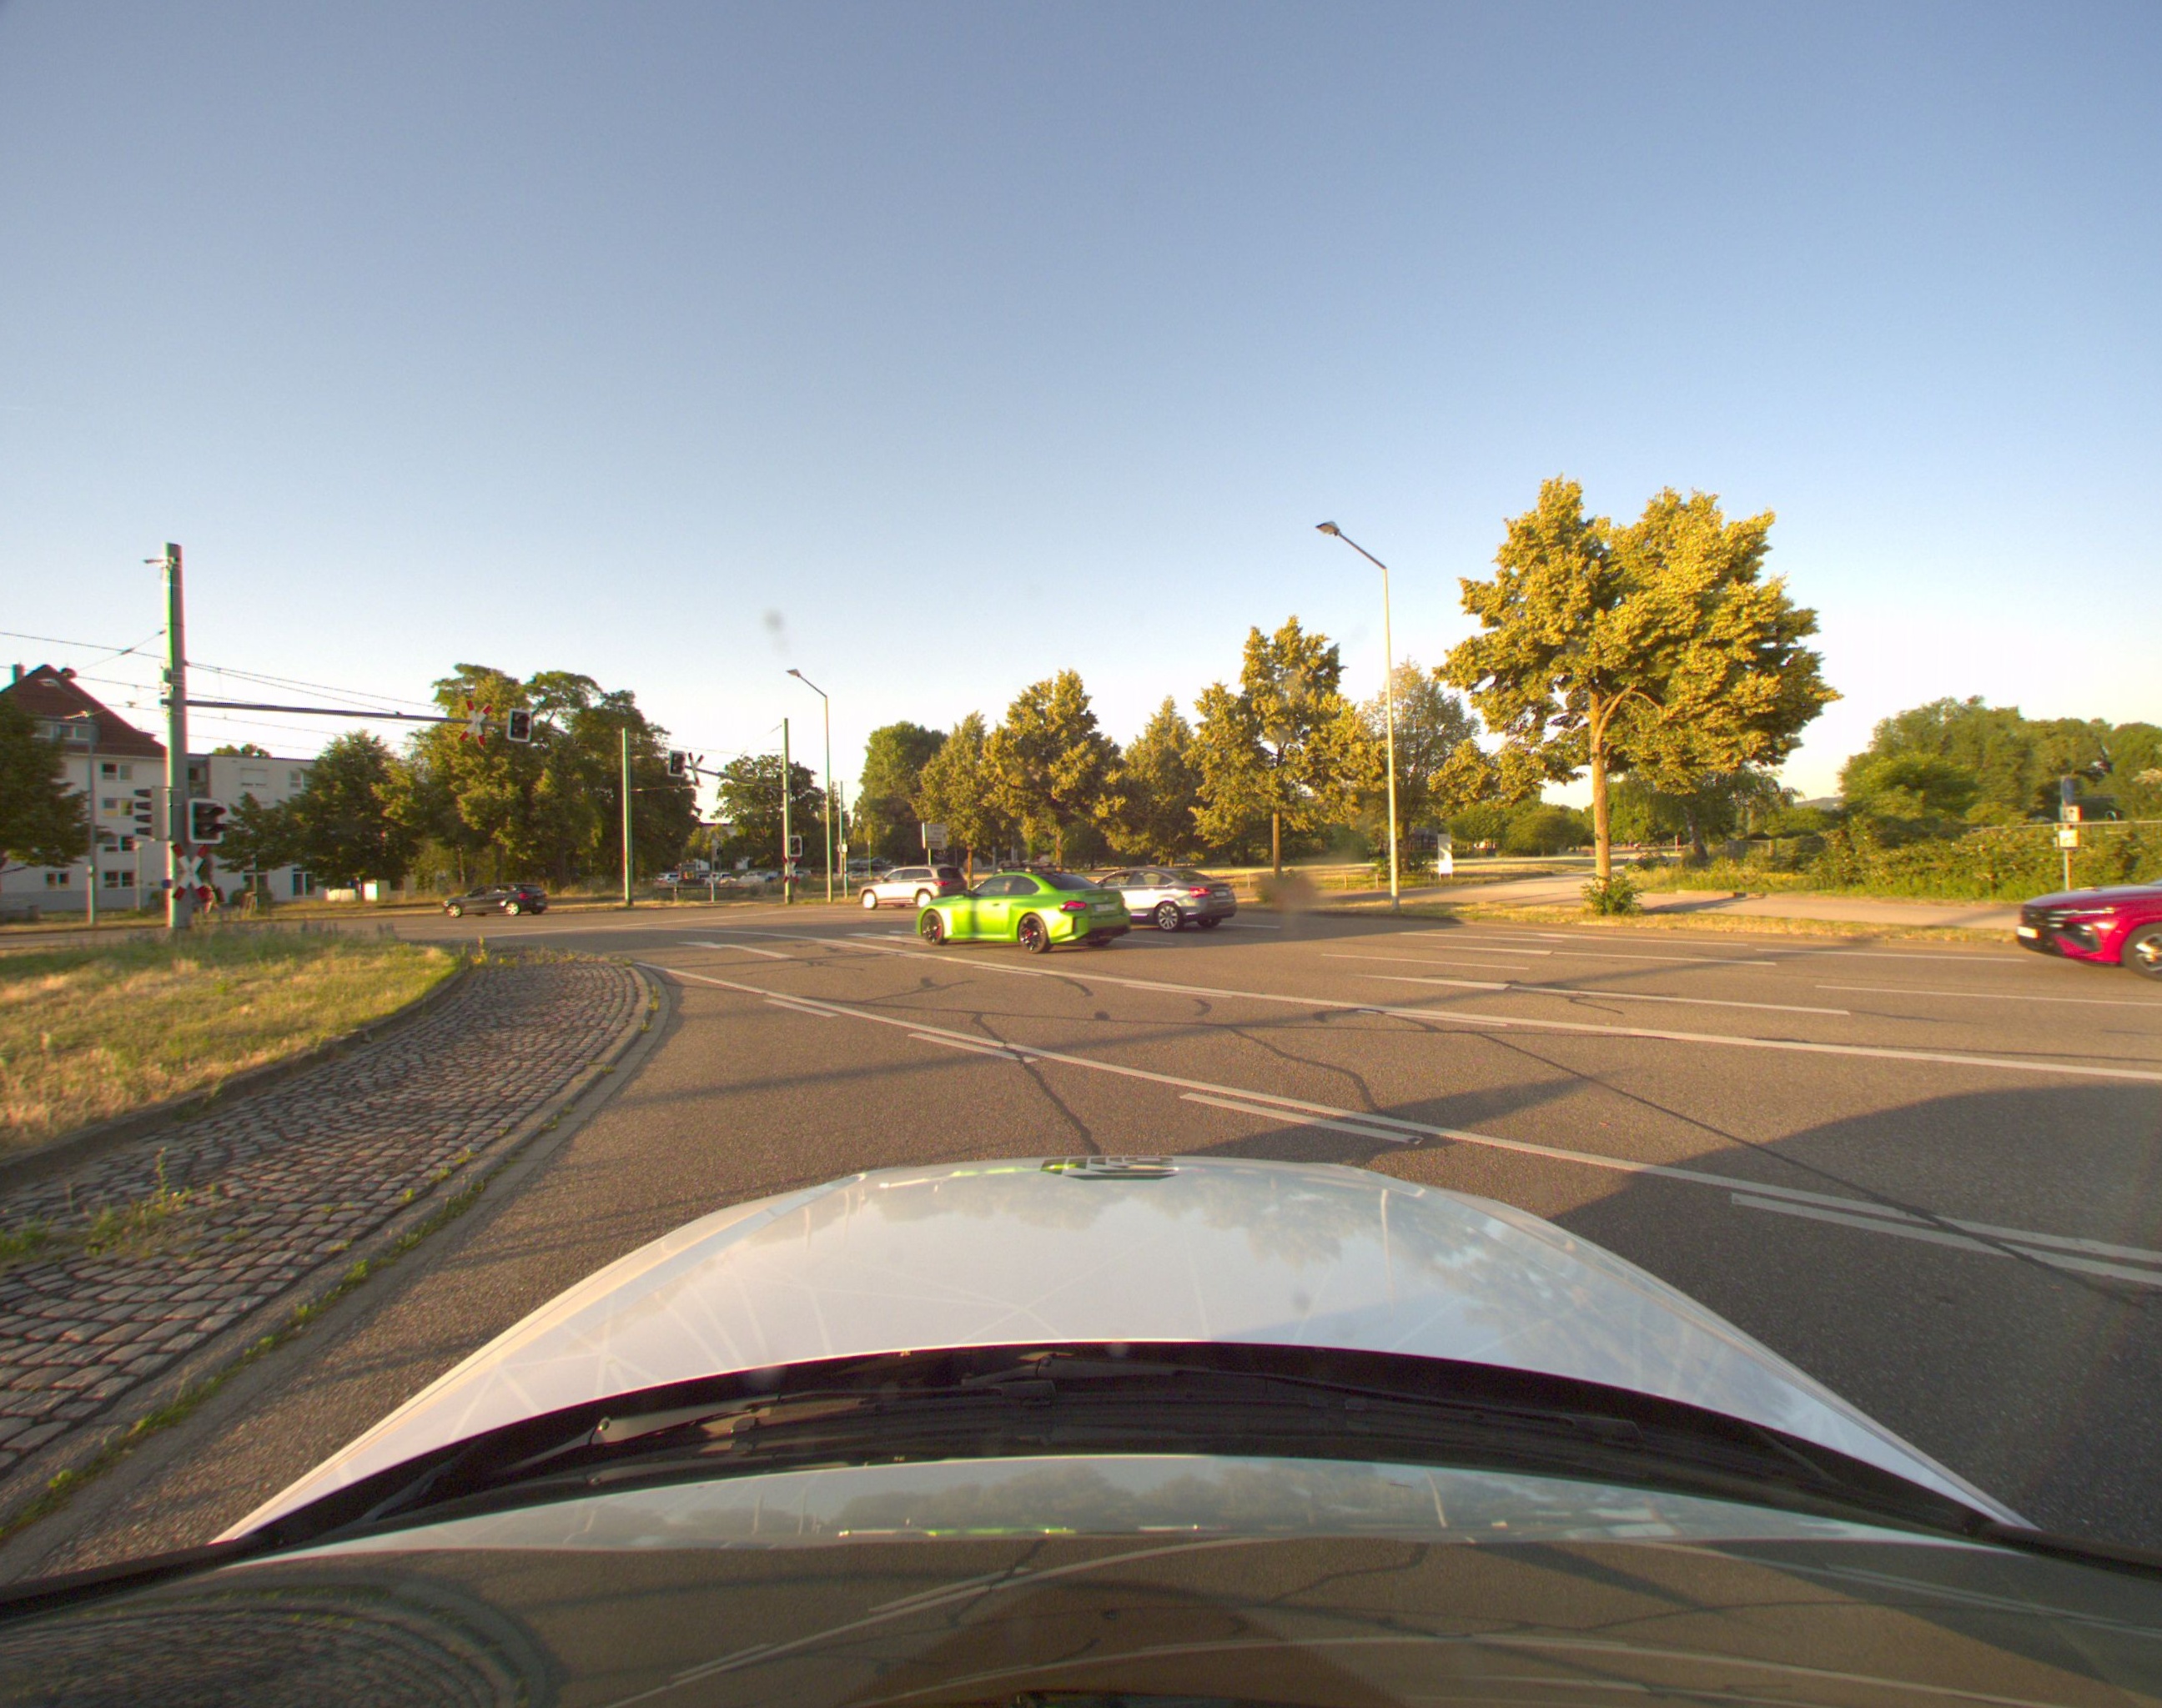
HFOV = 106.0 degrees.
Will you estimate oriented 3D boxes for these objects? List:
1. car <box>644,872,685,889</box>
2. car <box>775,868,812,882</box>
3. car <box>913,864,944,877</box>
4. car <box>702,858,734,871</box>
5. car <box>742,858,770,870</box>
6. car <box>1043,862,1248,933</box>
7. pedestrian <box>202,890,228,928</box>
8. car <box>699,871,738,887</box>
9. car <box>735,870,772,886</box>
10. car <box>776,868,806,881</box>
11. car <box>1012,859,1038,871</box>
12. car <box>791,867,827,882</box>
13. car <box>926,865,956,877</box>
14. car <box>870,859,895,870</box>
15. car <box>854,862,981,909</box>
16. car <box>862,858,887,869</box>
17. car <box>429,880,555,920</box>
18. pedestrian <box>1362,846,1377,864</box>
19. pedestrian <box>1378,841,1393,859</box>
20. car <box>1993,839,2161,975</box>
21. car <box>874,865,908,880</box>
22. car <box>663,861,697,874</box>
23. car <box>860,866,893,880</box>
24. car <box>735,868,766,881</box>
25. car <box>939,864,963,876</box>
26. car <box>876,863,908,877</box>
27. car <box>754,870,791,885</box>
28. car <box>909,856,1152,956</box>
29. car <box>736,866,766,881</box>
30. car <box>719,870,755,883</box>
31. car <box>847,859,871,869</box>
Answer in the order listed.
[{"bbox_3d":[-42.648,2.677,83.327,3.948,1.604,2.013,-2,0,34],"label":"car"},{"bbox_3d":[-33.695,2.450,95.433,3.948,1.604,2.013,-2,0,34],"label":"car"},{"bbox_3d":[-21.463,2.317,114.790,3.948,1.604,2.013,-2,0,34],"label":"car"},{"bbox_3d":[-61.922,1.790,139.065,1.974,2.013,4.628,-2,0,36],"label":"car"},{"bbox_3d":[-57.834,1.807,144.936,1.974,2.013,4.143,-2,0,36],"label":"car"},{"bbox_3d":[1.459,0.987,19.536,4.610,1.464,1.899,-2,0,39],"label":"car"},{"bbox_3d":[-44.282,2.791,41.641,0.666,1.893,0.619,0,-1,-4],"label":"pedestrian"},{"bbox_3d":[-39.017,2.685,87.545,3.948,1.604,2.013,-2,0,34],"label":"car"},{"bbox_3d":[-37.047,2.708,92.064,3.948,1.604,2.013,-2,0,34],"label":"car"},{"bbox_3d":[-41.296,2.884,115.998,4.001,1.662,1.889,-2,0,-20],"label":"car"},{"bbox_3d":[-7.951,1.525,115.266,1.748,1.618,3.954,-1,0,-39],"label":"car"},{"bbox_3d":[-32.630,2.460,97.613,3.948,1.604,2.013,-2,0,34],"label":"car"},{"bbox_3d":[-19.988,2.374,116.484,3.948,1.604,2.013,-2,0,34],"label":"car"},{"bbox_3d":[-35.680,1.890,146.440,3.964,1.706,2.005,-2,0,8],"label":"car"},{"bbox_3d":[-6.258,1.205,31.099,4.468,1.637,2.012,-2,0,30],"label":"car"},{"bbox_3d":[-37.956,1.780,150.046,1.975,2.013,4.025,-2,0,42],"label":"car"},{"bbox_3d":[-25.108,1.960,34.815,3.977,1.354,1.693,-3,2,-3],"label":"car"},{"bbox_3d":[26.636,0.053,75.271,1.064,1.617,0.911,-2,0,4],"label":"pedestrian"},{"bbox_3d":[27.635,-0.329,73.920,1.064,1.617,0.911,-2,0,4],"label":"pedestrian"},{"bbox_3d":[14.374,0.585,9.643,4.358,1.573,2.013,-2,0,34],"label":"car"},{"bbox_3d":[-27.647,2.685,118.515,4.578,2.013,1.995,-2,0,-7],"label":"car"},{"bbox_3d":[-65.660,2.235,133.326,1.974,2.013,4.627,-2,0,32],"label":"car"},{"bbox_3d":[-26.667,2.485,105.990,3.948,1.604,2.013,-2,0,34],"label":"car"},{"bbox_3d":[-46.225,2.785,113.946,4.005,1.662,1.984,-2,0,-24],"label":"car"},{"bbox_3d":[-20.837,2.530,129.992,2.008,1.752,4.549,-1,1,-35],"label":"car"},{"bbox_3d":[-29.374,2.416,126.703,4.578,2.013,1.995,-2,0,-7],"label":"car"},{"bbox_3d":[-35.503,2.710,93.674,3.948,1.604,2.013,-2,0,34],"label":"car"},{"bbox_3d":[-1.069,0.888,15.418,4.428,1.579,2.012,-2,0,41],"label":"car"},{"bbox_3d":[-47.830,2.775,117.993,4.006,2.013,1.984,-2,0,-24],"label":"car"},{"bbox_3d":[-46.110,3.016,109.147,1.878,1.662,4.026,-2,0,37],"label":"car"},{"bbox_3d":[-41.745,1.889,153.024,1.974,1.816,4.026,-2,0,37],"label":"car"}]
